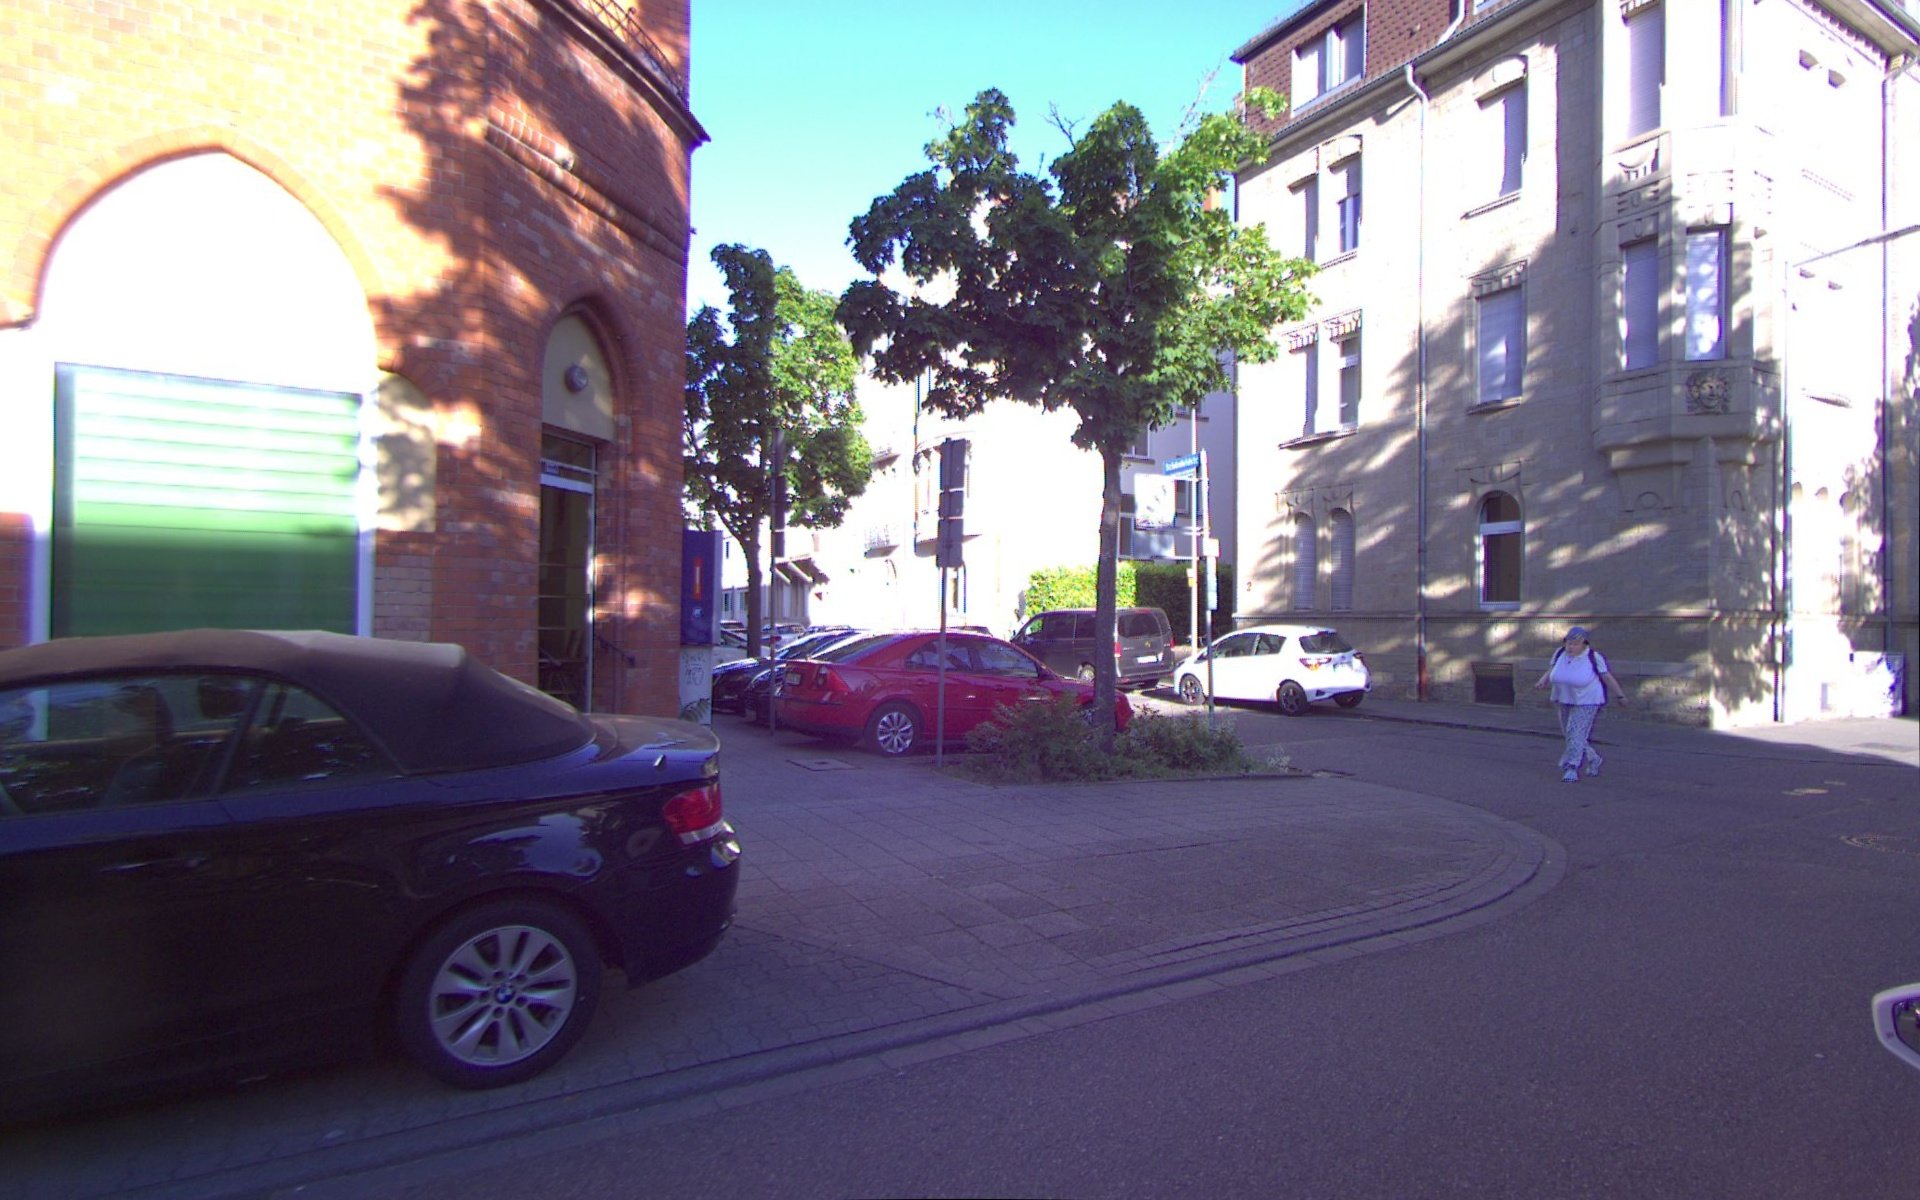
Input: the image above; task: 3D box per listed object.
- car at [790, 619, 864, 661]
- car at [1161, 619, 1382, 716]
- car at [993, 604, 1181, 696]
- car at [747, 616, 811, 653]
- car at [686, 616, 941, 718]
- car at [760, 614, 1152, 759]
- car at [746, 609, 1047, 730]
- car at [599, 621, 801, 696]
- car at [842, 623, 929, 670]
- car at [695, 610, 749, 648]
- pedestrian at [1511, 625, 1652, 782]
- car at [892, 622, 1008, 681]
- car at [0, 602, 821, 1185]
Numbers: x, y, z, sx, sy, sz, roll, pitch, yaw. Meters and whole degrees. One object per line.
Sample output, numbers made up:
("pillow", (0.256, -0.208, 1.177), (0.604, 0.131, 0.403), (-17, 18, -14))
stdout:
("car", (-4.993, 1.455, 37.307), (1.471, 1.424, 3.386), (-2, 0, -31))
("car", (5.734, 1.173, 18.891), (1.699, 1.571, 3.776), (-2, 0, -31))
("car", (2.854, 1.097, 23.699), (1.846, 1.891, 4.688), (-2, 0, -31))
("car", (-7.606, 1.411, 41.969), (1.471, 1.424, 3.386), (-2, 0, -31))
("car", (-2.417, 1.082, 16.830), (3.869, 1.532, 1.705), (2, -2, -30))
("car", (0.034, 0.977, 12.306), (4.603, 1.488, 1.628), (2, -1, -30))
("car", (-0.889, 0.975, 14.927), (4.163, 1.570, 1.705), (1, -2, -30))
("car", (-5.892, 1.288, 22.889), (4.163, 1.570, 1.705), (1, -2, -30))
("car", (-2.524, 1.500, 33.330), (1.471, 1.424, 3.386), (-2, 0, -31))
("car", (-11.871, 1.434, 50.024), (1.634, 1.753, 3.386), (-2, 0, -31))
("pedestrian", (6.753, 1.083, 10.928), (1.041, 1.598, 0.884), (0, -2, -30))
("car", (-0.361, 1.428, 28.983), (1.584, 1.493, 3.870), (-2, 0, -31))
("car", (-2.773, 0.759, 3.295), (4.282, 1.429, 1.628), (2, 1, -30))
